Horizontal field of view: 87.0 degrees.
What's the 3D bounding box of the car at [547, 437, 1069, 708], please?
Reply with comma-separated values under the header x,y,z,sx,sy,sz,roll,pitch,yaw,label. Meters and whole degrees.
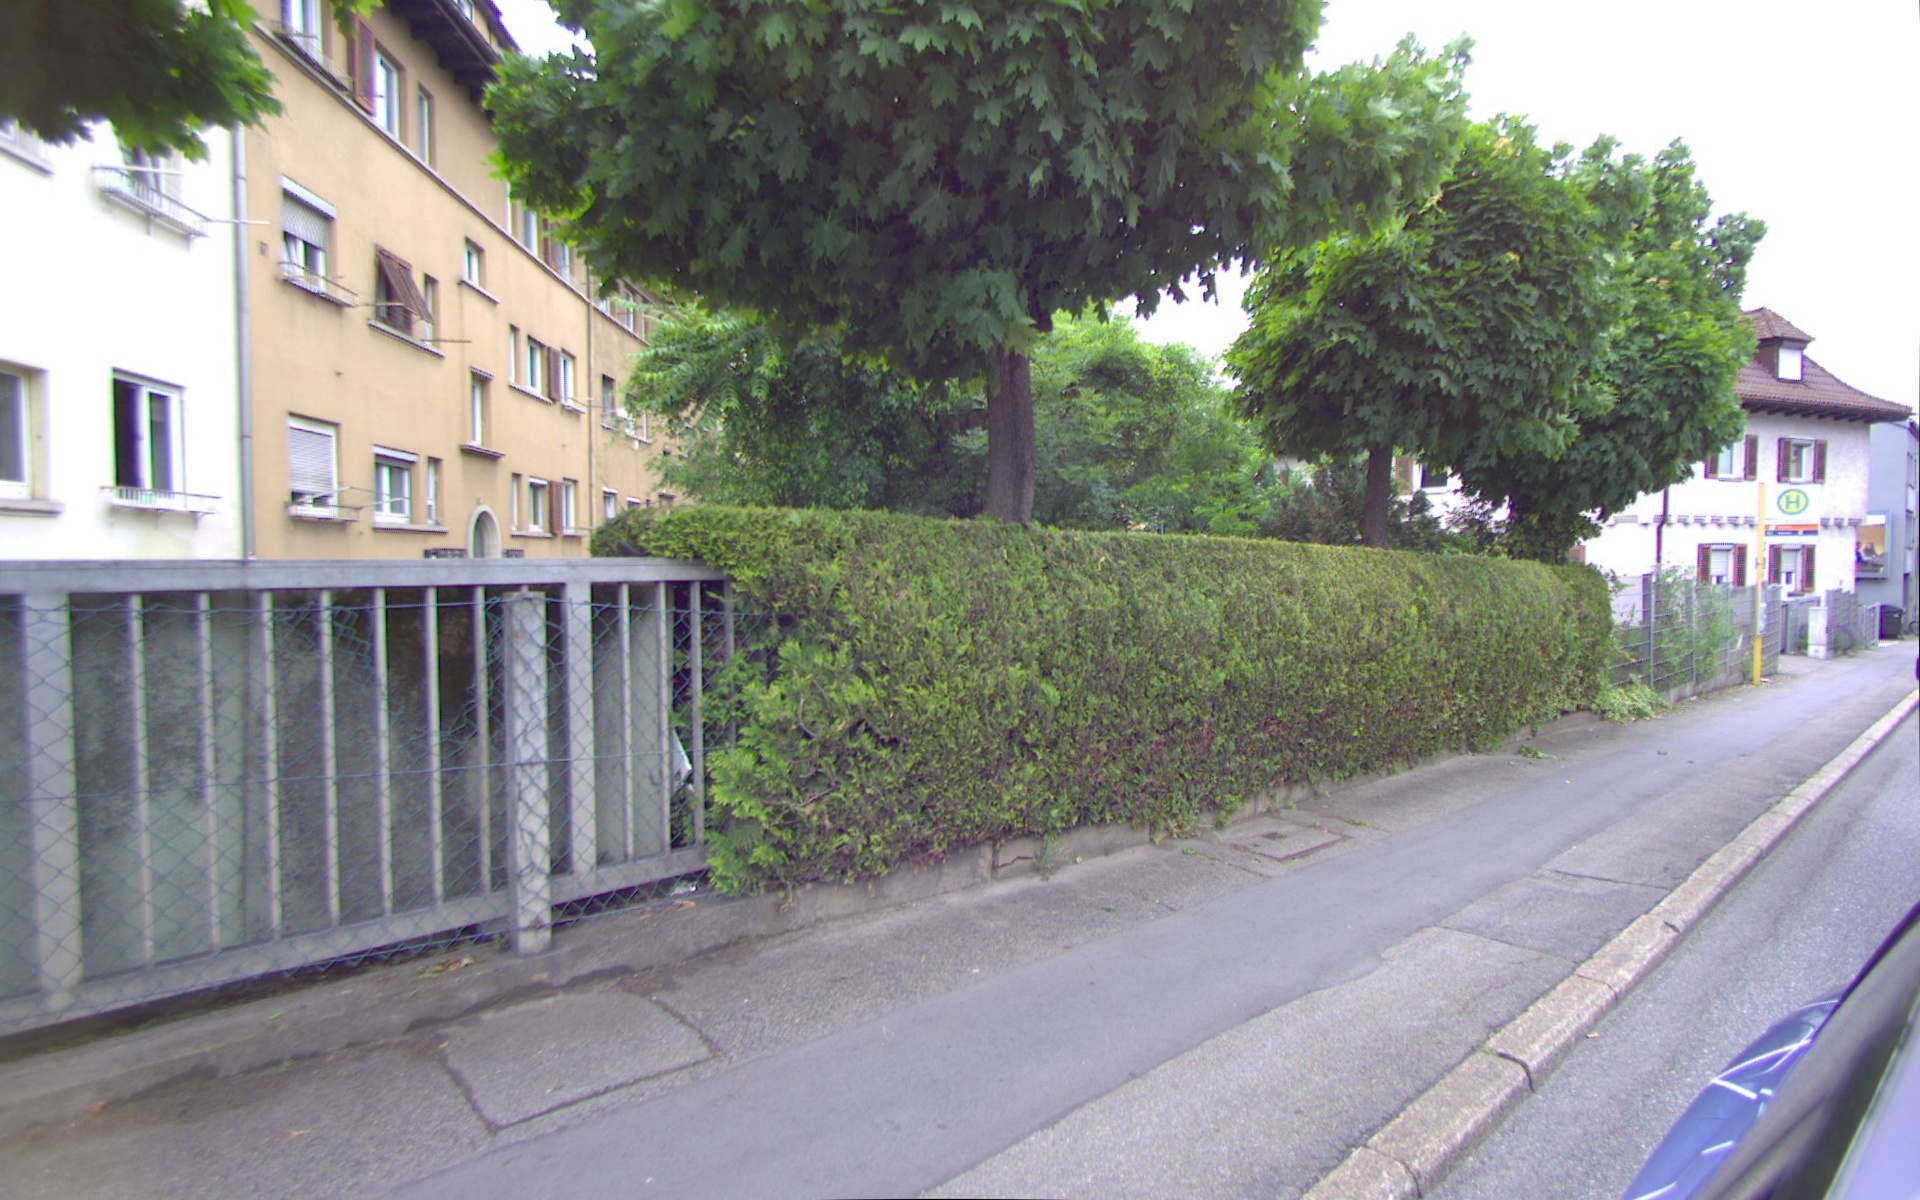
x,y,z,sx,sy,sz,roll,pitch,yaw,label
-0.966,-0.171,7.318,3.381,1.478,1.698,-1,0,-43,car
